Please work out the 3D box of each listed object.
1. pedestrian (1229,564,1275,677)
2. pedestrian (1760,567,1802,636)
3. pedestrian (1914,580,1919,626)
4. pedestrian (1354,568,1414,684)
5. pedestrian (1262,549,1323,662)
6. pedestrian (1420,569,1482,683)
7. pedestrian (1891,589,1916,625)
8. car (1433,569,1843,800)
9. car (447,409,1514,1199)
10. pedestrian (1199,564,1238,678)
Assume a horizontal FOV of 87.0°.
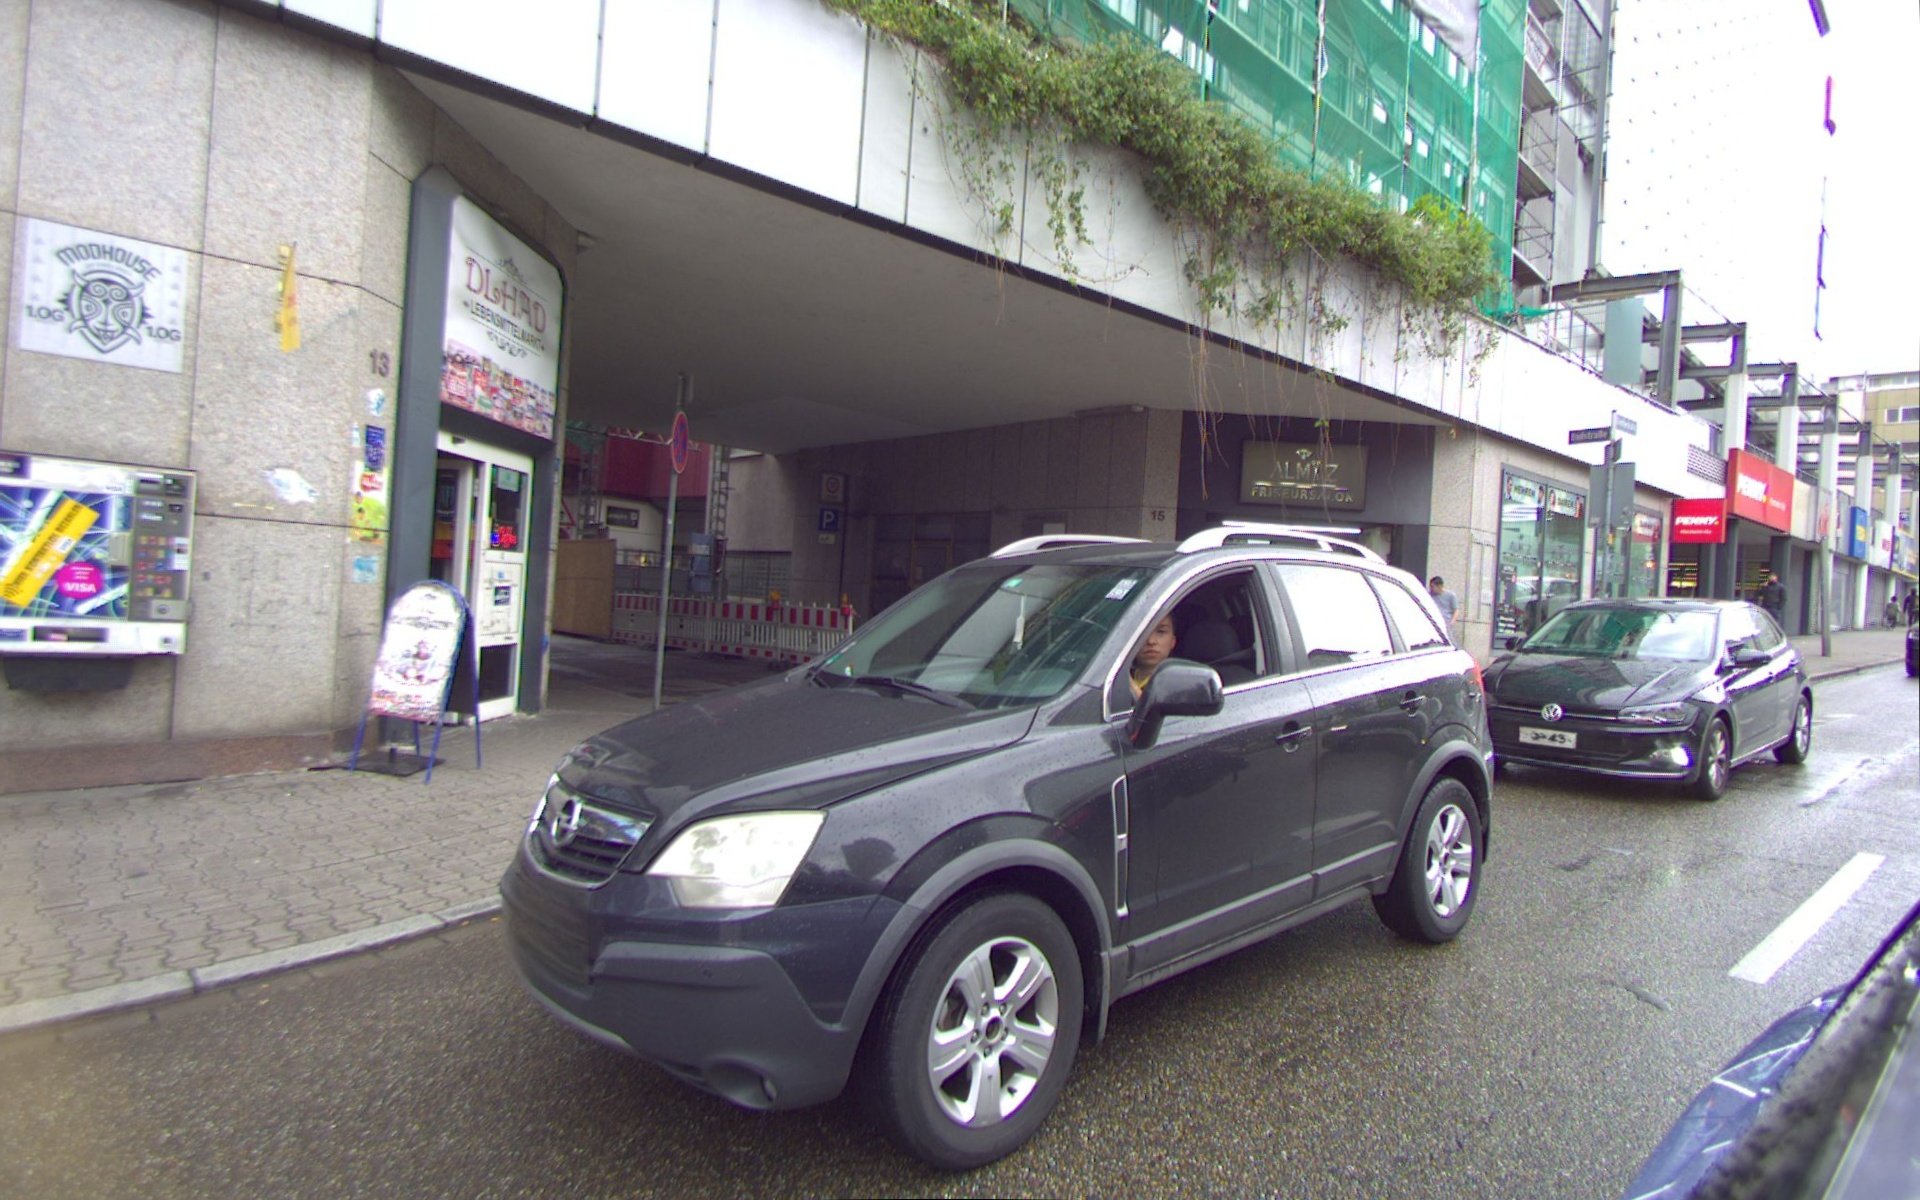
[{"bbox_3d":[4.246,0.285,14.727,0.630,1.615,0.574,0,1,17],"label":"pedestrian"},{"bbox_3d":[20.368,0.029,25.113,0.499,1.699,0.581,0,2,-19],"label":"pedestrian"},{"bbox_3d":[32.079,0.105,33.600,0.570,1.519,0.509,-1,3,-42],"label":"pedestrian"},{"bbox_3d":[6.281,0.362,14.988,0.578,1.647,0.666,3,3,44],"label":"pedestrian"},{"bbox_3d":[5.612,0.073,17.112,0.730,1.838,0.773,2,2,3],"label":"pedestrian"},{"bbox_3d":[7.403,0.367,15.250,0.721,1.663,0.637,-1,1,-44],"label":"pedestrian"},{"bbox_3d":[31.698,0.229,34.000,0.570,1.181,0.509,-1,3,-42],"label":"pedestrian"},{"bbox_3d":[5.909,0.573,8.641,4.088,1.523,1.759,1,0,-39],"label":"car"},{"bbox_3d":[0.430,0.531,4.012,4.090,1.788,1.763,1,0,-40],"label":"car"},{"bbox_3d":[3.983,0.319,15.605,0.474,1.729,0.467,0,0,1],"label":"pedestrian"}]
